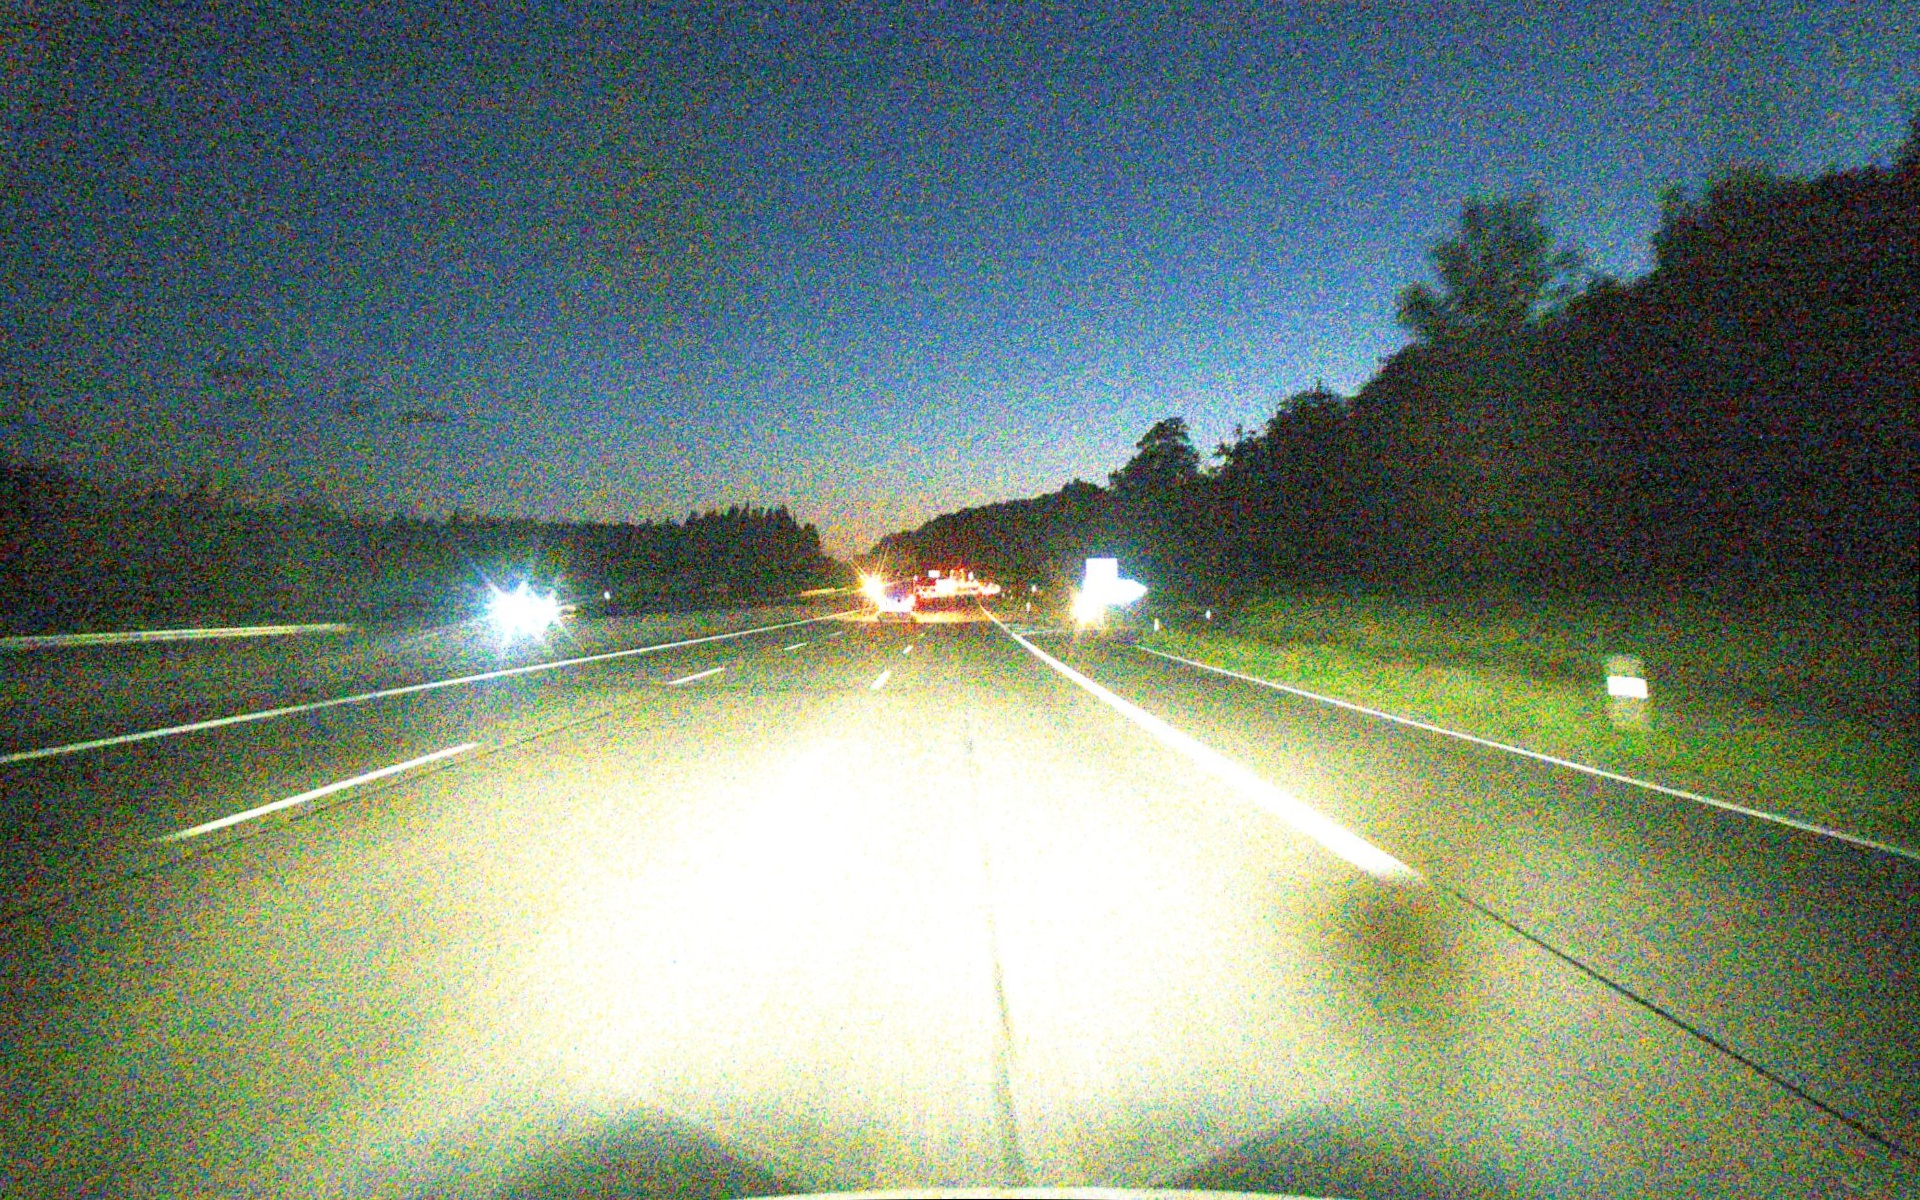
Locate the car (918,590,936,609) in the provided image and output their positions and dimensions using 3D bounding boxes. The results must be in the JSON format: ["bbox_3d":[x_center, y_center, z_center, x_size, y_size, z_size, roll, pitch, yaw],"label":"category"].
[{"bbox_3d":[-5.174,-0.076,256.897,2.730,2.781,6.296,0,-2,-2],"label":"car"}]

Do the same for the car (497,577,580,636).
[{"bbox_3d":[-22.449,0.358,88.364,2.788,2.989,6.600,1,-1,-1],"label":"car"}]

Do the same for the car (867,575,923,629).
[{"bbox_3d":[-3.437,0.158,89.121,2.729,2.781,6.298,0,-2,0],"label":"car"}]
